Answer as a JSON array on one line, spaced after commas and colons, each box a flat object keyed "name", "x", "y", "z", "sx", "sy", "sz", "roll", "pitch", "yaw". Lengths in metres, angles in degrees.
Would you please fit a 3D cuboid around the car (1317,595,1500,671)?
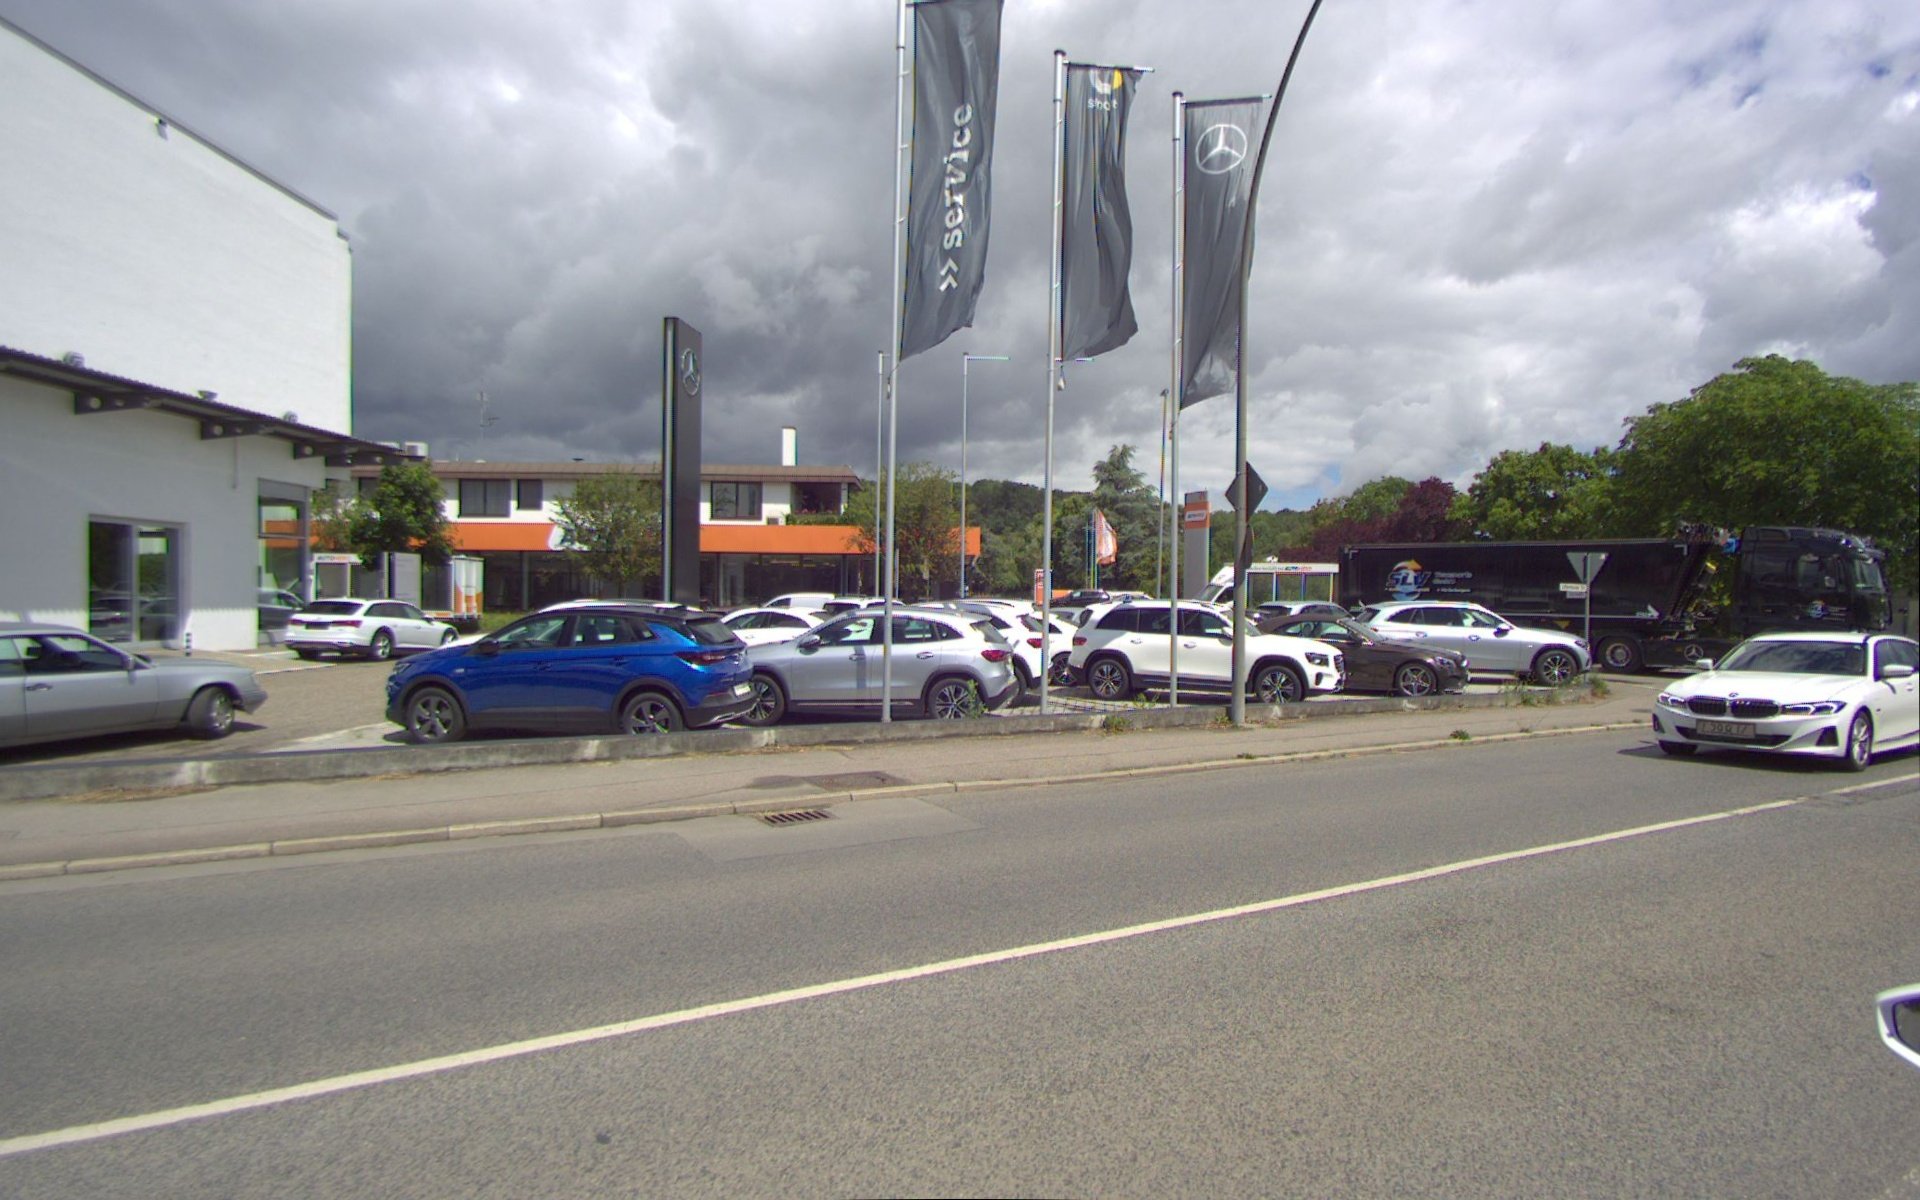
[{"name": "car", "x": 11.218, "y": 0.779, "z": 25.041, "sx": 4.547, "sy": 1.744, "sz": 1.920, "roll": 1, "pitch": 0, "yaw": -31}]

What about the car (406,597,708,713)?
[{"name": "car", "x": -6.019, "y": 0.791, "z": 15.365, "sx": 3.877, "sy": 1.647, "sz": 1.803, "roll": 0, "pitch": 1, "yaw": -1}]

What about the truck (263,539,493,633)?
[{"name": "truck", "x": -23.008, "y": -0.539, "z": 39.933, "sx": 7.665, "sy": 3.469, "sz": 2.447, "roll": 1, "pitch": 0, "yaw": 1}]

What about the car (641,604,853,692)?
[{"name": "car", "x": -4.307, "y": 0.932, "z": 20.644, "sx": 3.874, "sy": 1.647, "sz": 1.805, "roll": 0, "pitch": 1, "yaw": 7}]

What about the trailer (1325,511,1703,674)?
[{"name": "trailer", "x": 16.135, "y": -0.199, "z": 29.926, "sx": 9.333, "sy": 4.137, "sz": 3.301, "roll": 1, "pitch": 0, "yaw": 43}]

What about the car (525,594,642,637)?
[{"name": "car", "x": -14.843, "y": 0.592, "z": 39.747, "sx": 3.922, "sy": 1.615, "sz": 1.730, "roll": 1, "pitch": 0, "yaw": -2}]

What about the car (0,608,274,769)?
[{"name": "car", "x": -10.249, "y": 0.926, "z": 10.797, "sx": 1.768, "sy": 1.409, "sz": 4.597, "roll": 4, "pitch": 3, "yaw": 19}]

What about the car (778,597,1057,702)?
[{"name": "car", "x": -0.615, "y": 0.769, "z": 16.800, "sx": 4.429, "sy": 1.587, "sz": 1.874, "roll": 0, "pitch": 1, "yaw": 6}]

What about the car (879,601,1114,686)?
[{"name": "car", "x": 0.771, "y": 0.824, "z": 20.427, "sx": 4.467, "sy": 1.487, "sz": 1.868, "roll": 1, "pitch": 2, "yaw": 15}]

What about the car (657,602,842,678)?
[{"name": "car", "x": -4.887, "y": 0.895, "z": 23.587, "sx": 3.874, "sy": 1.647, "sz": 1.805, "roll": 0, "pitch": 1, "yaw": 7}]

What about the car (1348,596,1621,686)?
[{"name": "car", "x": 10.714, "y": 0.789, "z": 20.921, "sx": 4.646, "sy": 1.626, "sz": 1.989, "roll": 1, "pitch": 1, "yaw": 13}]

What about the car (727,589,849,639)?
[{"name": "car", "x": -6.772, "y": 0.540, "z": 39.962, "sx": 4.584, "sy": 1.870, "sz": 1.832, "roll": 1, "pitch": 0, "yaw": -3}]

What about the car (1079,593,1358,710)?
[{"name": "car", "x": 4.351, "y": 0.771, "z": 16.972, "sx": 4.220, "sy": 1.700, "sz": 1.934, "roll": 1, "pitch": 0, "yaw": 28}]

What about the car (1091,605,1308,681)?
[{"name": "car", "x": 5.196, "y": 0.906, "z": 22.286, "sx": 4.466, "sy": 1.487, "sz": 1.868, "roll": 1, "pitch": 2, "yaw": 9}]

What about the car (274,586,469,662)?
[{"name": "car", "x": -14.042, "y": 0.542, "z": 24.334, "sx": 1.889, "sy": 1.611, "sz": 4.585, "roll": 2, "pitch": 0, "yaw": 1}]

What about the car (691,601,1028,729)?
[{"name": "car", "x": -1.302, "y": 0.844, "z": 14.166, "sx": 4.429, "sy": 1.587, "sz": 1.874, "roll": 0, "pitch": 1, "yaw": 6}]

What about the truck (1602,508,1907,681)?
[{"name": "truck", "x": 20.084, "y": -0.098, "z": 25.645, "sx": 2.956, "sy": 3.874, "sz": 5.515, "roll": 1, "pitch": 0, "yaw": -36}]

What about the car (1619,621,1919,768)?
[{"name": "car", "x": 10.045, "y": 1.006, "z": 12.053, "sx": 4.378, "sy": 1.469, "sz": 1.983, "roll": 1, "pitch": -2, "yaw": -33}]

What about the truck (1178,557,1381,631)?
[{"name": "truck", "x": 14.365, "y": -0.236, "z": 45.339, "sx": 8.435, "sy": 3.090, "sz": 2.660, "roll": 1, "pitch": 0, "yaw": -10}]

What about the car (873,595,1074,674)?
[{"name": "car", "x": 0.358, "y": 0.747, "z": 23.201, "sx": 4.344, "sy": 1.638, "sz": 1.868, "roll": 1, "pitch": 2, "yaw": 12}]

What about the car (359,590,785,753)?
[{"name": "car", "x": -4.606, "y": 0.783, "z": 12.307, "sx": 4.478, "sy": 1.691, "sz": 1.895, "roll": 1, "pitch": 2, "yaw": 6}]

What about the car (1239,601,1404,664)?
[{"name": "car", "x": 10.075, "y": 0.873, "z": 27.875, "sx": 4.710, "sy": 1.622, "sz": 1.788, "roll": 1, "pitch": -1, "yaw": -31}]

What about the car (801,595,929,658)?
[{"name": "car", "x": -2.637, "y": 0.722, "z": 28.856, "sx": 1.813, "sy": 1.650, "sz": 3.995, "roll": 1, "pitch": 0, "yaw": 27}]

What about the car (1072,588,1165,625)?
[{"name": "car", "x": 8.347, "y": 0.332, "z": 53.180, "sx": 4.584, "sy": 1.870, "sz": 1.832, "roll": 1, "pitch": 0, "yaw": -3}]

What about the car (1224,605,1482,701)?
[{"name": "car", "x": 7.312, "y": 0.910, "z": 18.802, "sx": 4.252, "sy": 1.485, "sz": 1.792, "roll": 1, "pitch": 2, "yaw": 31}]
